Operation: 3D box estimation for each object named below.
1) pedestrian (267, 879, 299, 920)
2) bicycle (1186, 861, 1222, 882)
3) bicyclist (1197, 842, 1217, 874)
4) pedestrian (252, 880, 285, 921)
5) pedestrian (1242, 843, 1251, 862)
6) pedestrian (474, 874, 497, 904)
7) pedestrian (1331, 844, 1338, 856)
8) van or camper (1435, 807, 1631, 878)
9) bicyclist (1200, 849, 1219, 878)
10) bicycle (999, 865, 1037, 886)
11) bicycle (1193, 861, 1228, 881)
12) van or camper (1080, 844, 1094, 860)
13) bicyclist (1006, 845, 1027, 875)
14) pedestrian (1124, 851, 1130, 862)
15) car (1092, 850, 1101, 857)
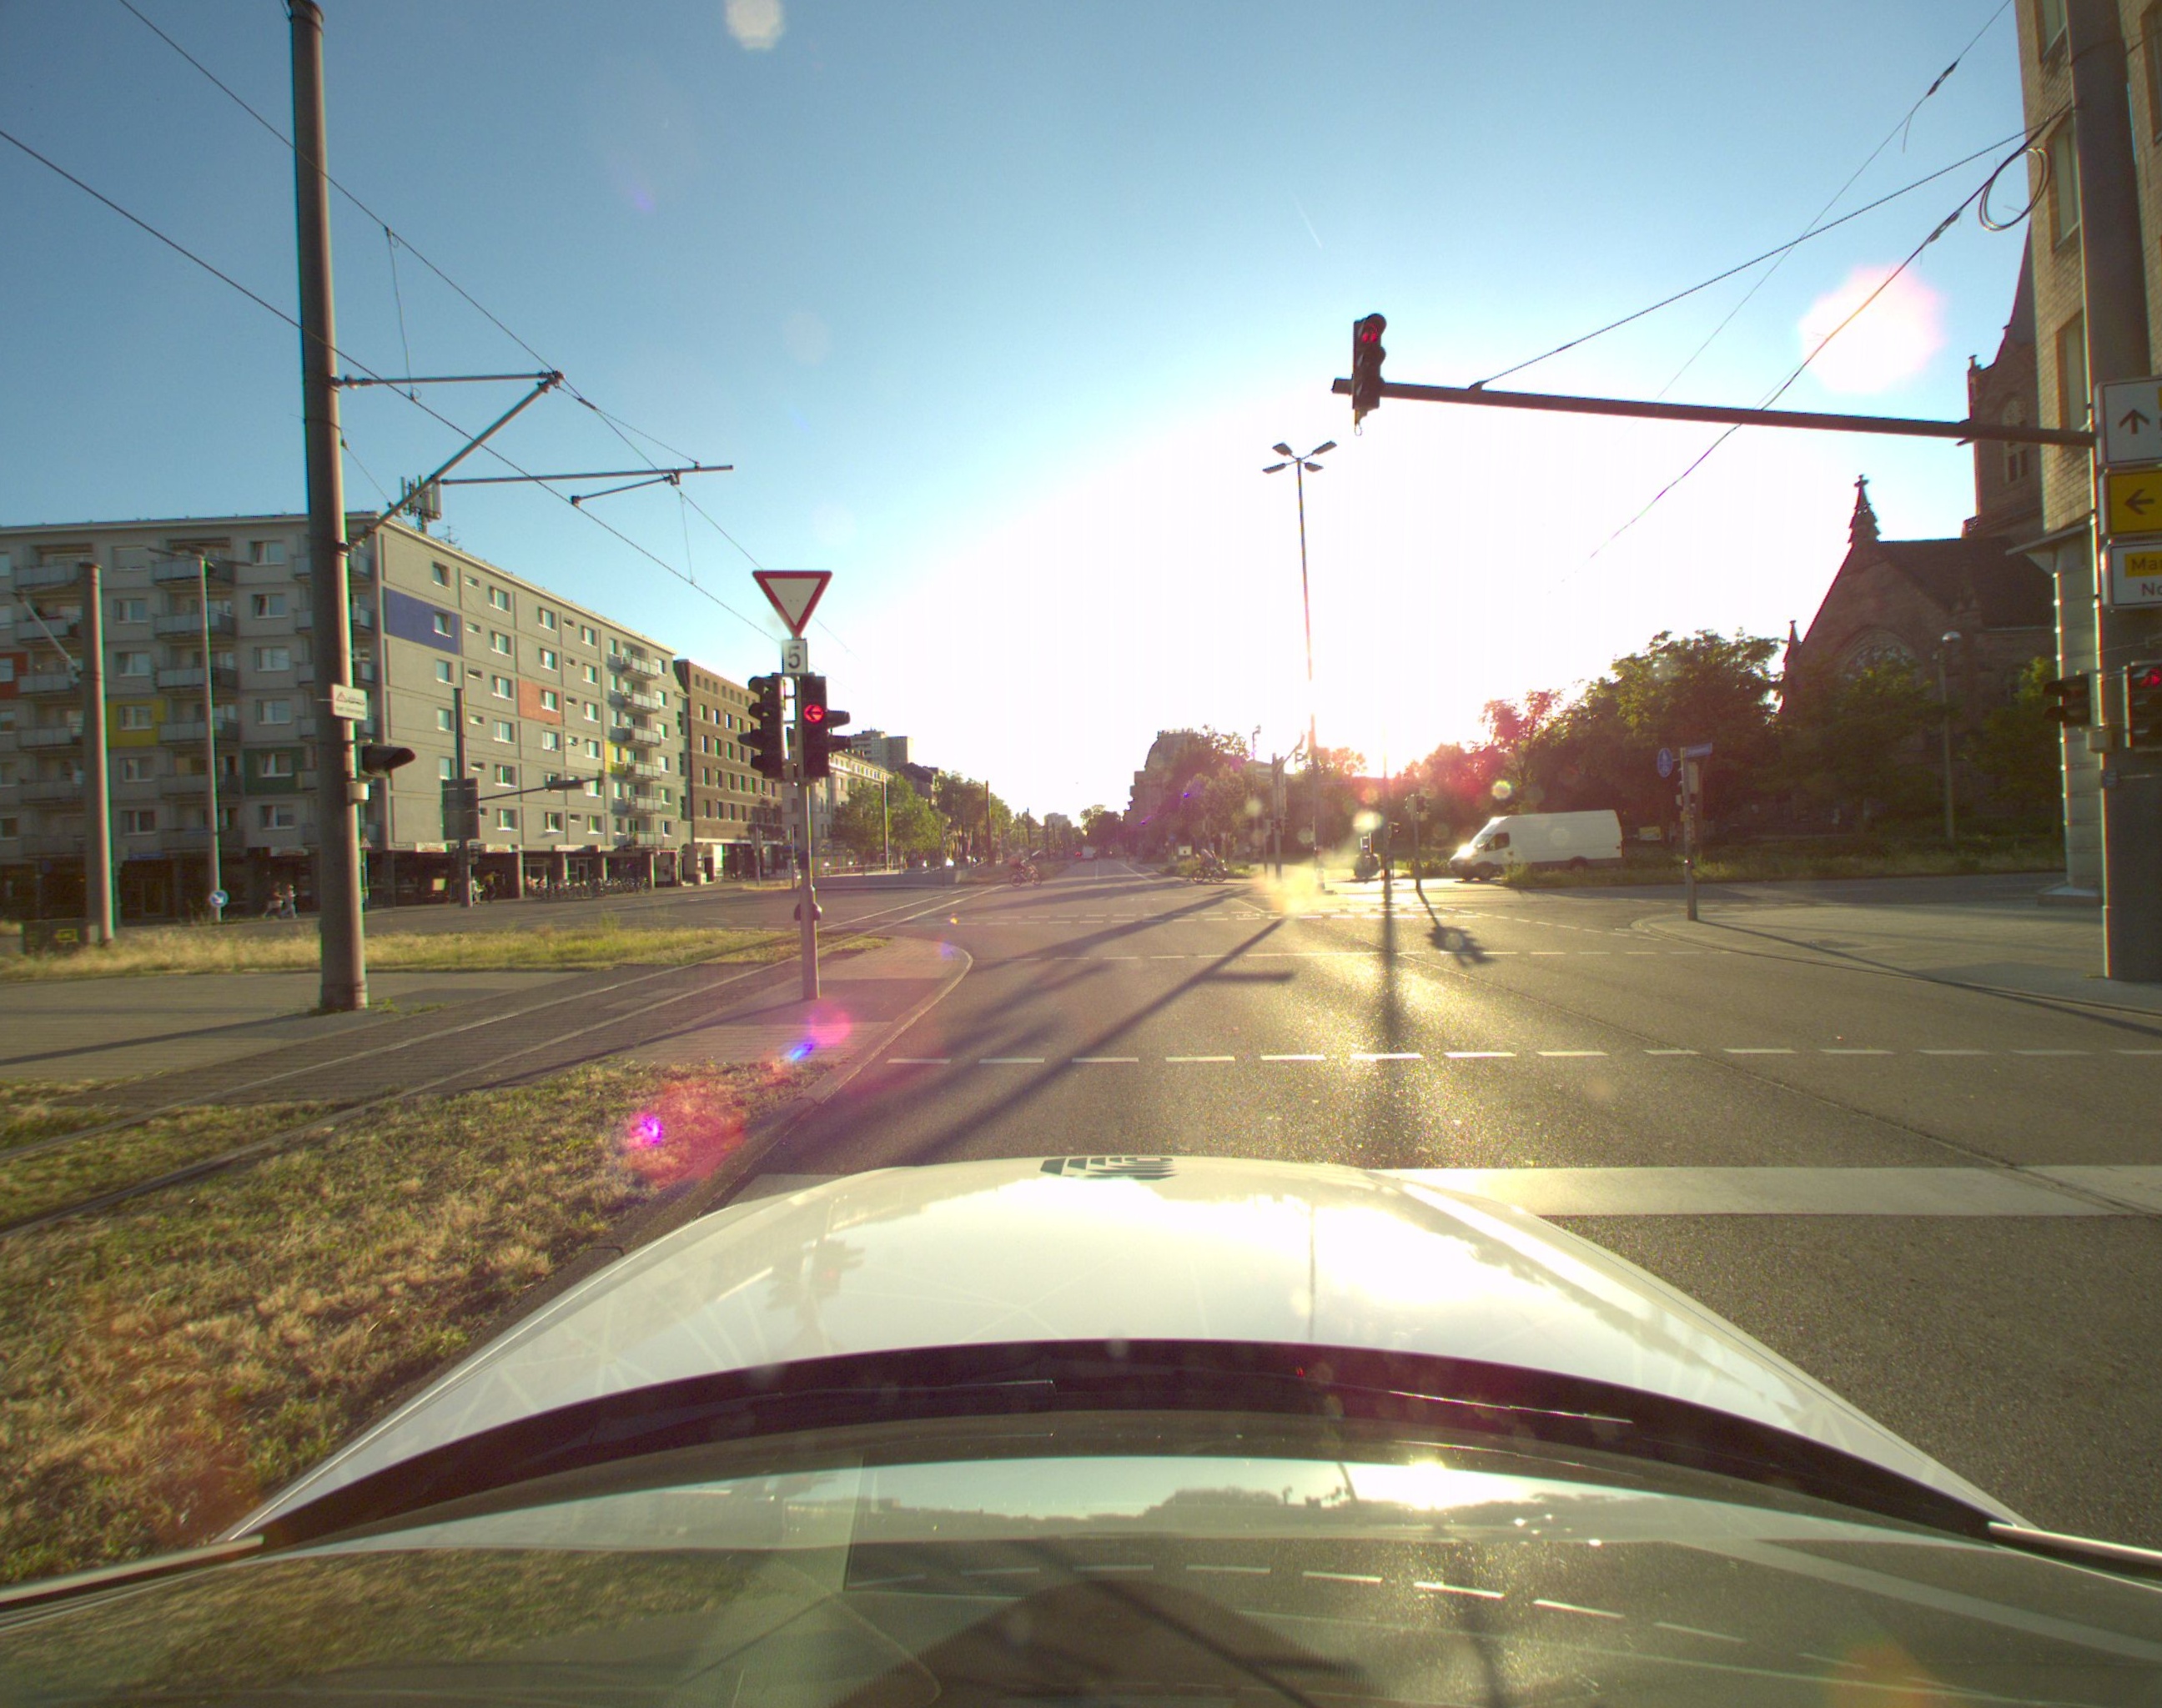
[{"bbox_3d":[-37.830,2.151,38.607,0.600,1.847,0.822,-2,1,1],"label":"pedestrian"},{"bbox_3d":[6.195,0.870,41.038,1.726,0.970,0.608,-2,1,-6],"label":"bicycle"},{"bbox_3d":[6.346,0.194,41.050,0.796,1.571,0.662,-3,1,-5],"label":"bicyclist"},{"bbox_3d":[-38.663,2.207,38.775,0.702,1.851,0.737,-2,1,1],"label":"pedestrian"},{"bbox_3d":[14.870,-0.143,73.118,0.679,1.611,0.613,-2,1,1],"label":"pedestrian"},{"bbox_3d":[-34.456,2.017,47.130,0.731,1.669,0.788,-2,1,36],"label":"pedestrian"},{"bbox_3d":[36.569,-0.574,117.494,0.791,1.701,0.803,-2,0,16],"label":"pedestrian"},{"bbox_3d":[19.487,-0.514,35.434,7.013,2.674,2.601,-2,1,3],"label":"van or camper"},{"bbox_3d":[6.817,0.492,43.079,0.850,1.442,0.663,-2,1,0],"label":"bicyclist"},{"bbox_3d":[-3.097,1.067,40.168,1.737,0.970,0.698,0,2,-26],"label":"bicycle"},{"bbox_3d":[6.840,0.879,43.097,1.713,0.970,0.609,-2,1,0],"label":"bicycle"},{"bbox_3d":[1.113,-0.308,143.693,2.254,2.624,4.505,-2,1,2],"label":"van or camper"},{"bbox_3d":[-3.174,0.297,40.118,0.857,1.442,0.658,-1,1,-25],"label":"bicyclist"},{"bbox_3d":[6.185,0.357,109.586,0.613,1.475,0.801,-2,1,5],"label":"pedestrian"},{"bbox_3d":[3.293,-0.079,170.545,1.731,1.385,4.002,-2,1,2],"label":"car"}]
